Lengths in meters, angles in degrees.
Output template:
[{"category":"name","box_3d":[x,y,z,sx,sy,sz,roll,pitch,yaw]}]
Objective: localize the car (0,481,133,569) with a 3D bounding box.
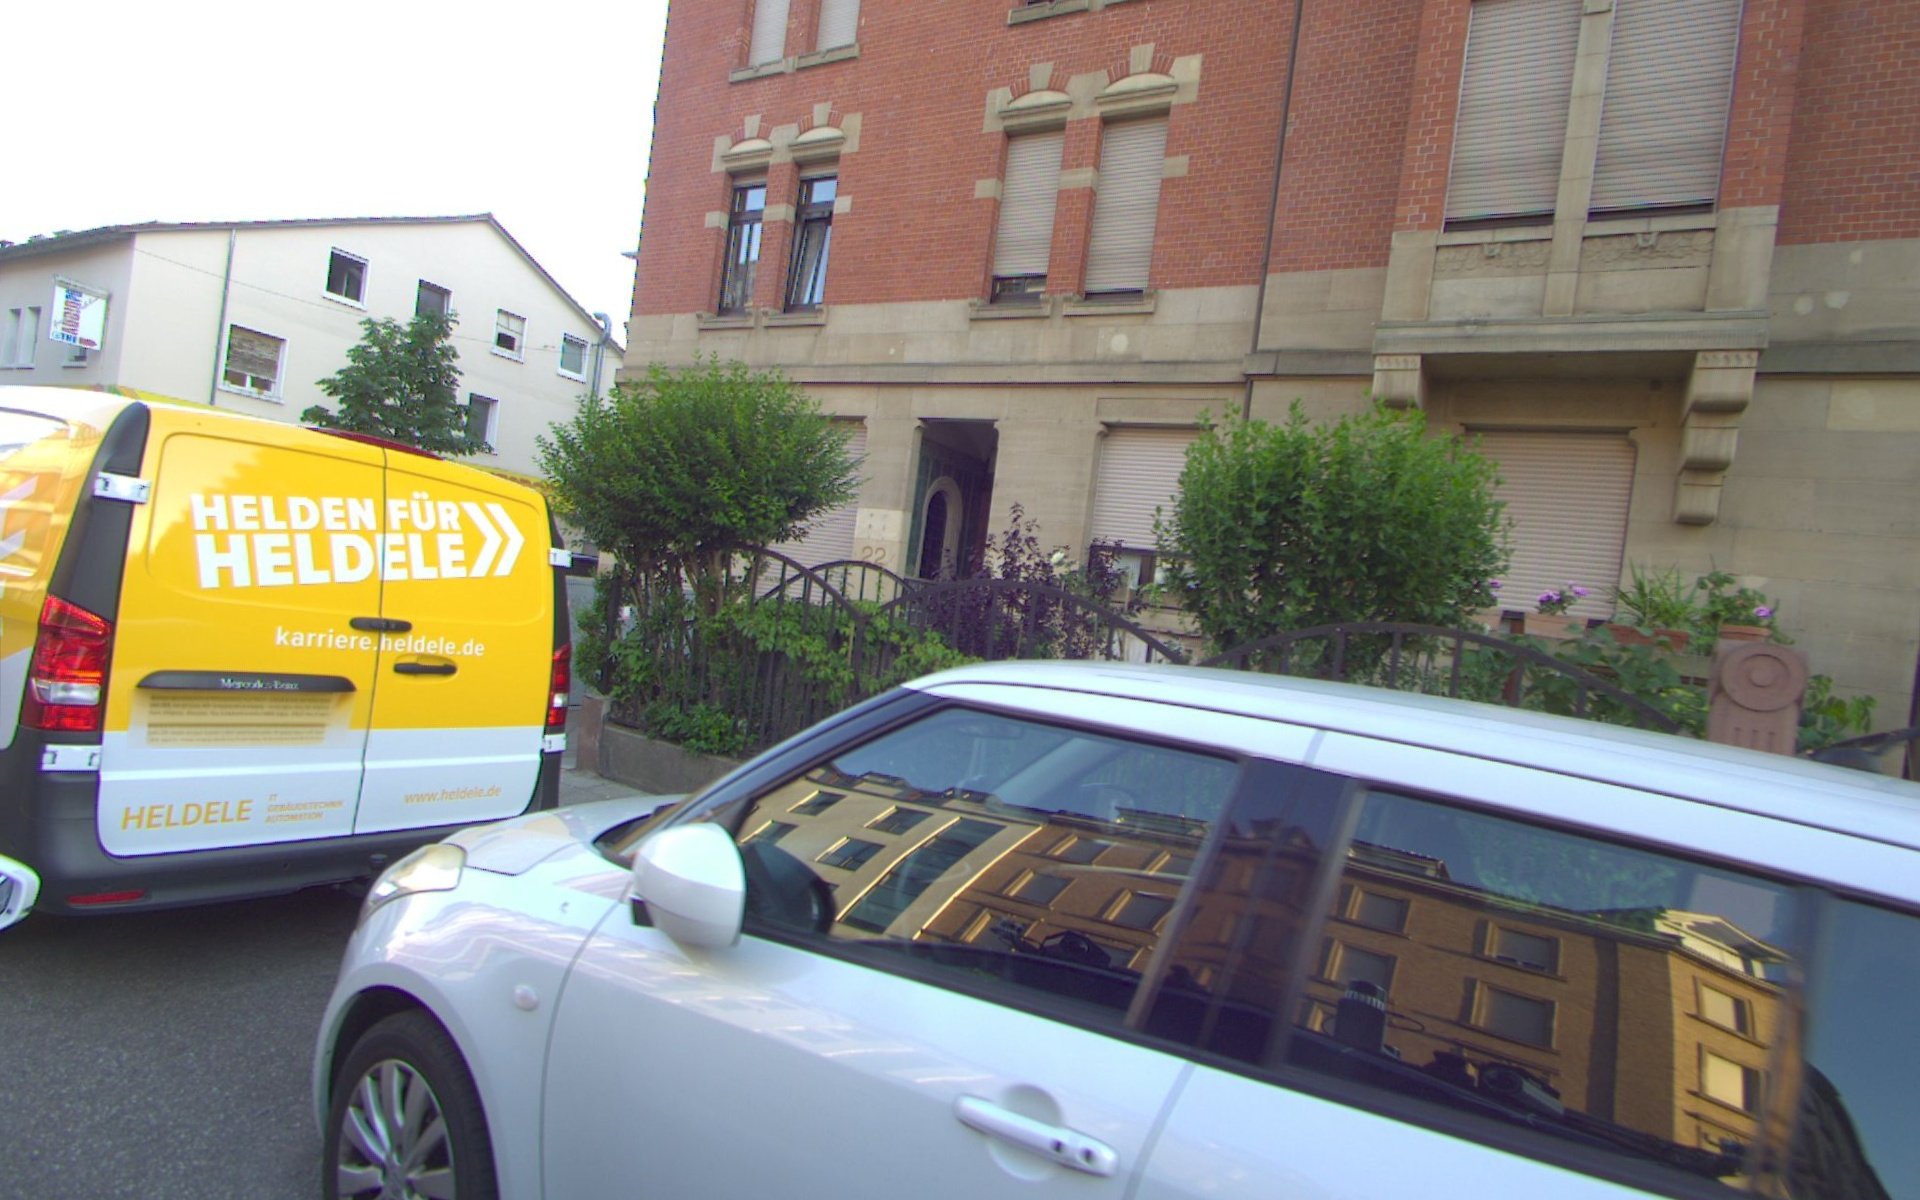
[{"category":"car","box_3d":[-20.129,-1.695,20.976,1.727,1.533,4.054,9,2,32]}]

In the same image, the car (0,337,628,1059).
[{"category":"car","box_3d":[-4.120,0.084,4.701,4.996,1.906,1.897,7,-1,31]}]

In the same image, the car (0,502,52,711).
[{"category":"car","box_3d":[-8.771,-0.246,7.501,4.182,1.440,1.725,7,-2,31]}]

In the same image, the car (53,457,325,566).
[{"category":"car","box_3d":[-15.201,-1.707,20.025,1.632,1.473,3.929,8,0,36]}]

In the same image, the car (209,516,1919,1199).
[{"category":"car","box_3d":[0.382,0.826,1.960,3.799,1.494,1.677,7,-1,34]}]
